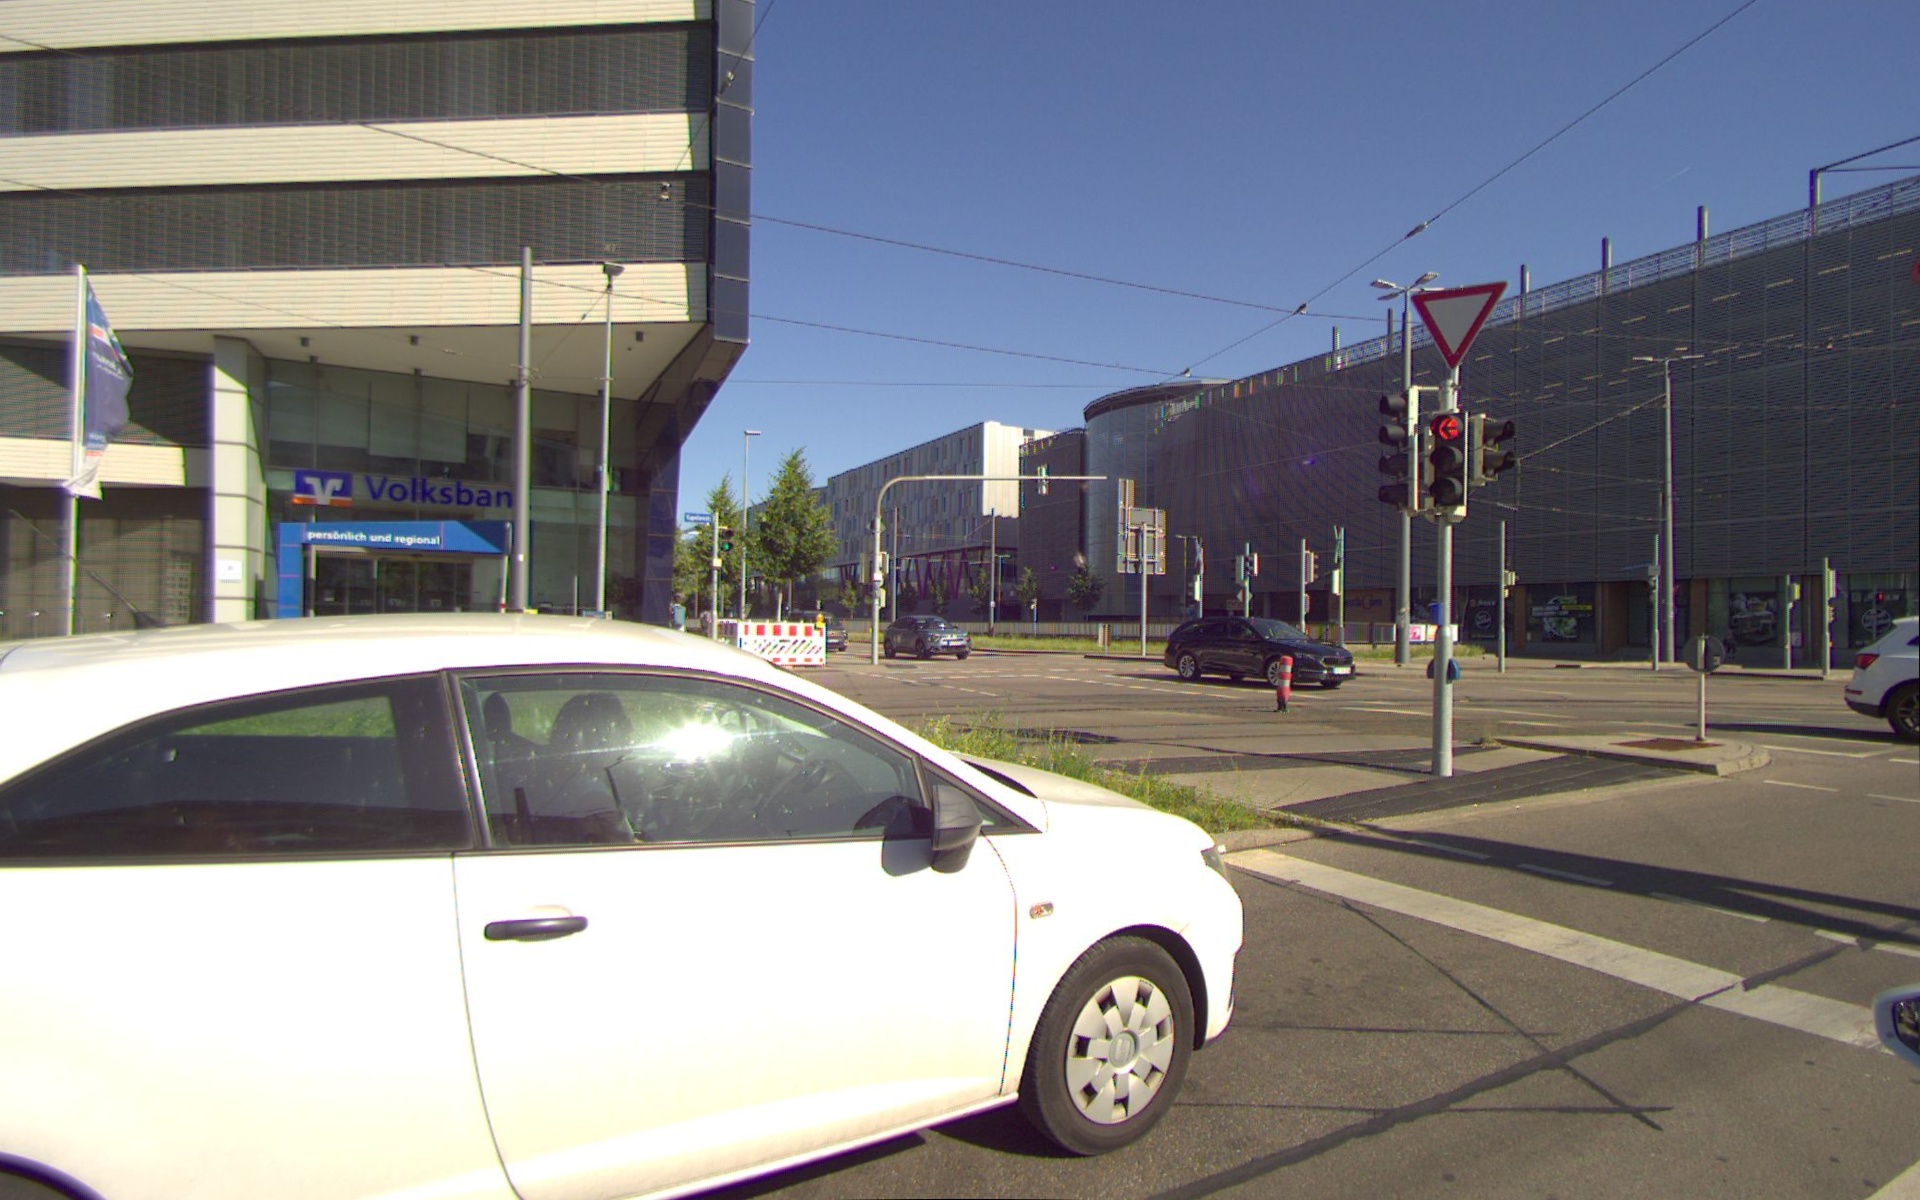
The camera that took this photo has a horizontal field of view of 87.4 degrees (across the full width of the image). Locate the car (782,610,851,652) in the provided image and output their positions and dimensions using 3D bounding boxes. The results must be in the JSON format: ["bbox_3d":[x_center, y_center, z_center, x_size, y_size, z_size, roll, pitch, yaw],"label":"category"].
[{"bbox_3d":[-6.551,1.364,45.516,1.688,1.815,4.440,1,-1,-28],"label":"car"}]

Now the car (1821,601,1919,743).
[{"bbox_3d":[13.211,0.890,11.608,1.918,1.730,4.639,1,-1,-34],"label":"car"}]

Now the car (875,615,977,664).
[{"bbox_3d":[-1.268,1.335,35.335,1.690,1.534,4.241,1,0,-32],"label":"car"}]

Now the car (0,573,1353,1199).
[{"bbox_3d":[-0.963,0.738,2.792,3.977,1.460,1.723,2,1,-31],"label":"car"}]

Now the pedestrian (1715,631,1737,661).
[{"bbox_3d":[41.542,2.488,54.479,0.584,1.622,0.661,2,0,-11],"label":"pedestrian"}]

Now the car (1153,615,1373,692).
[{"bbox_3d":[6.465,1.086,21.973,1.812,1.481,4.646,1,-1,-31],"label":"car"}]

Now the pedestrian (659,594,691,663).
[{"bbox_3d":[-7.170,0.720,25.281,0.729,1.719,0.805,0,-2,-20],"label":"pedestrian"}]
